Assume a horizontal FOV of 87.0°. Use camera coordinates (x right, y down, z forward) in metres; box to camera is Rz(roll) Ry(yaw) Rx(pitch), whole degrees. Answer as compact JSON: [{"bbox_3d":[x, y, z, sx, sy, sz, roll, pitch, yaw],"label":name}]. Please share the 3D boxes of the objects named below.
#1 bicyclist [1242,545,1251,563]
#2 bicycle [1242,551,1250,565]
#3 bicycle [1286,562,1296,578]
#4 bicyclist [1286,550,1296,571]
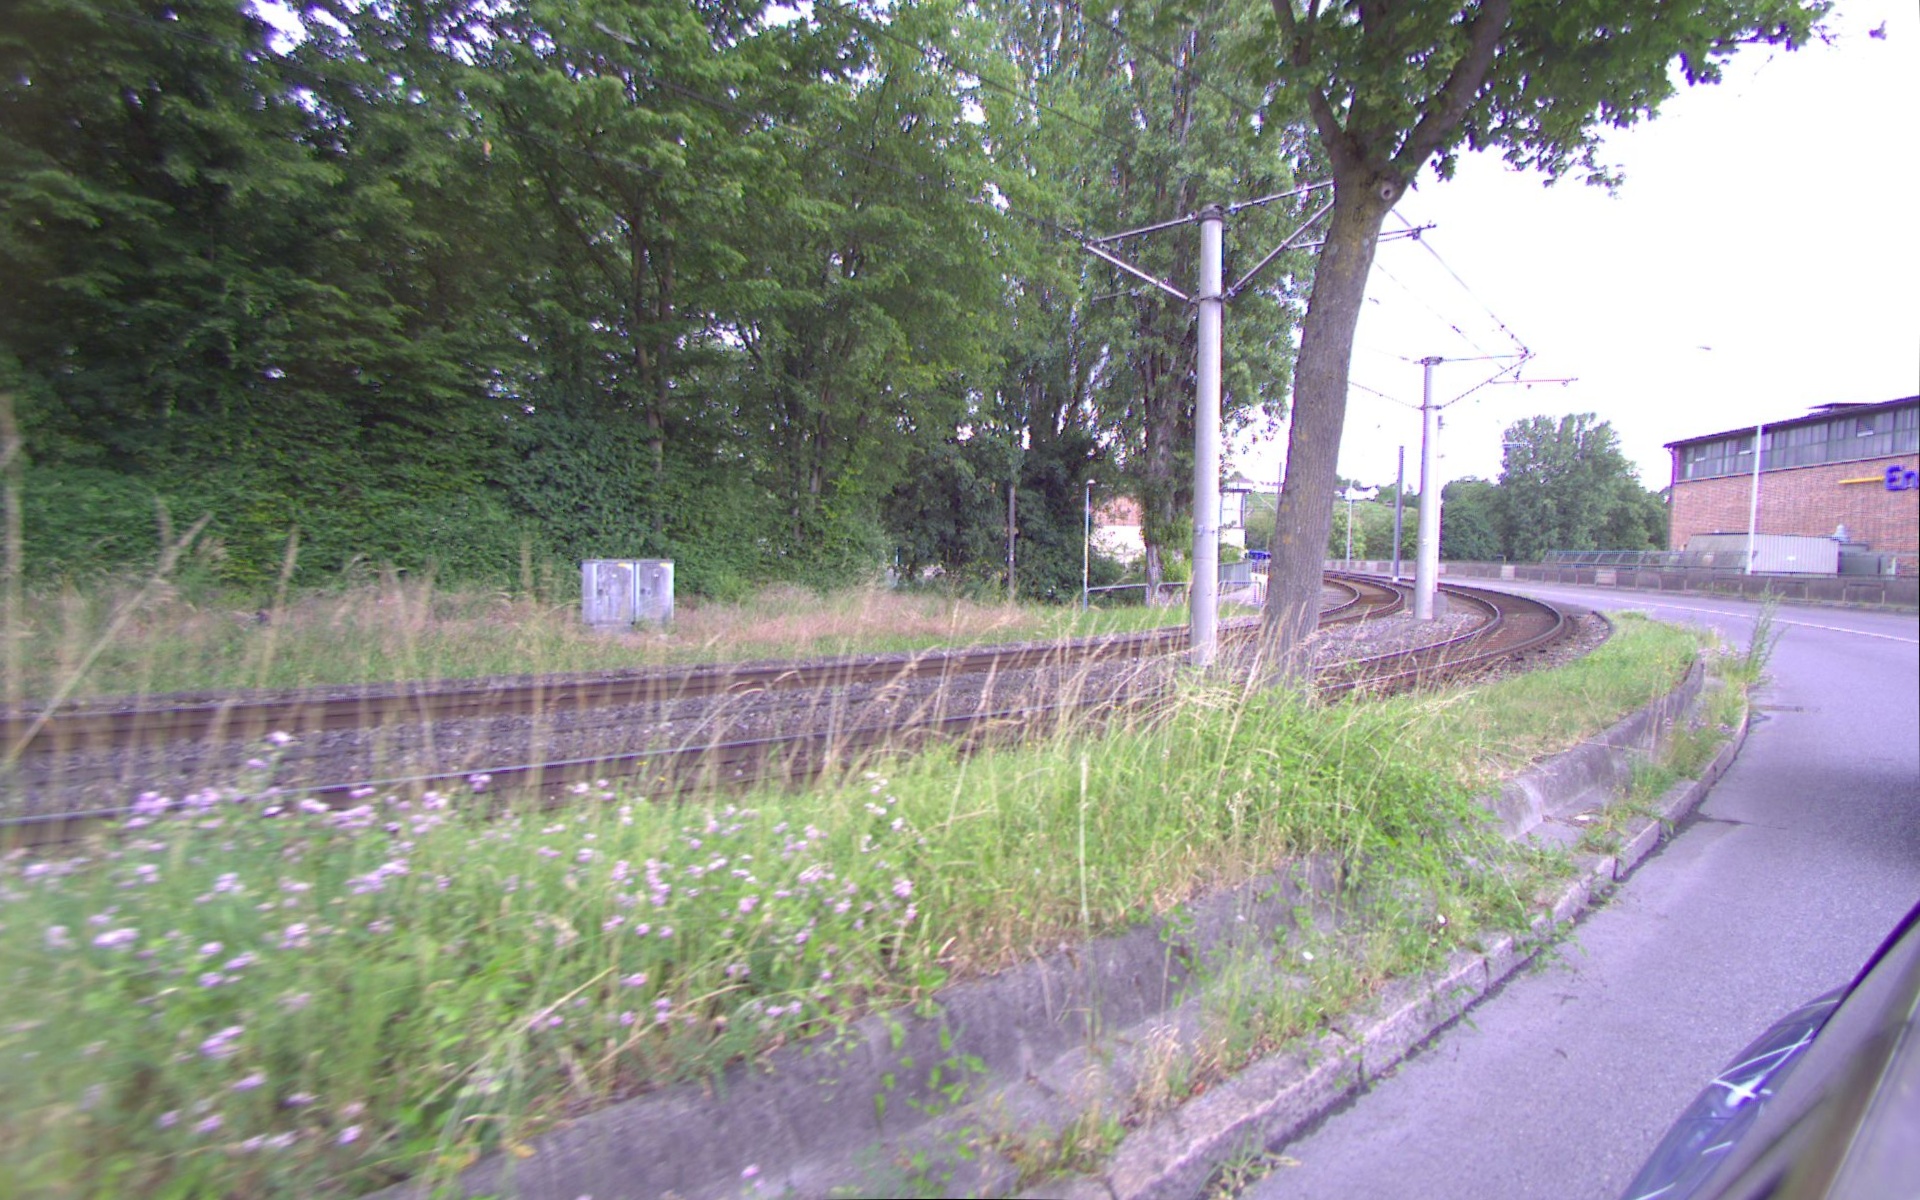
[{"bbox_3d":[22.837,-3.654,80.789,0.586,1.377,0.908,0,1,10],"label":"bicyclist"},{"bbox_3d":[22.847,-3.365,80.885,0.420,1.063,2.074,0,2,10],"label":"bicycle"},{"bbox_3d":[17.749,-1.612,54.263,0.344,0.804,1.535,2,2,25],"label":"bicycle"},{"bbox_3d":[17.735,-2.117,54.244,0.413,1.097,0.470,2,2,25],"label":"bicyclist"}]
